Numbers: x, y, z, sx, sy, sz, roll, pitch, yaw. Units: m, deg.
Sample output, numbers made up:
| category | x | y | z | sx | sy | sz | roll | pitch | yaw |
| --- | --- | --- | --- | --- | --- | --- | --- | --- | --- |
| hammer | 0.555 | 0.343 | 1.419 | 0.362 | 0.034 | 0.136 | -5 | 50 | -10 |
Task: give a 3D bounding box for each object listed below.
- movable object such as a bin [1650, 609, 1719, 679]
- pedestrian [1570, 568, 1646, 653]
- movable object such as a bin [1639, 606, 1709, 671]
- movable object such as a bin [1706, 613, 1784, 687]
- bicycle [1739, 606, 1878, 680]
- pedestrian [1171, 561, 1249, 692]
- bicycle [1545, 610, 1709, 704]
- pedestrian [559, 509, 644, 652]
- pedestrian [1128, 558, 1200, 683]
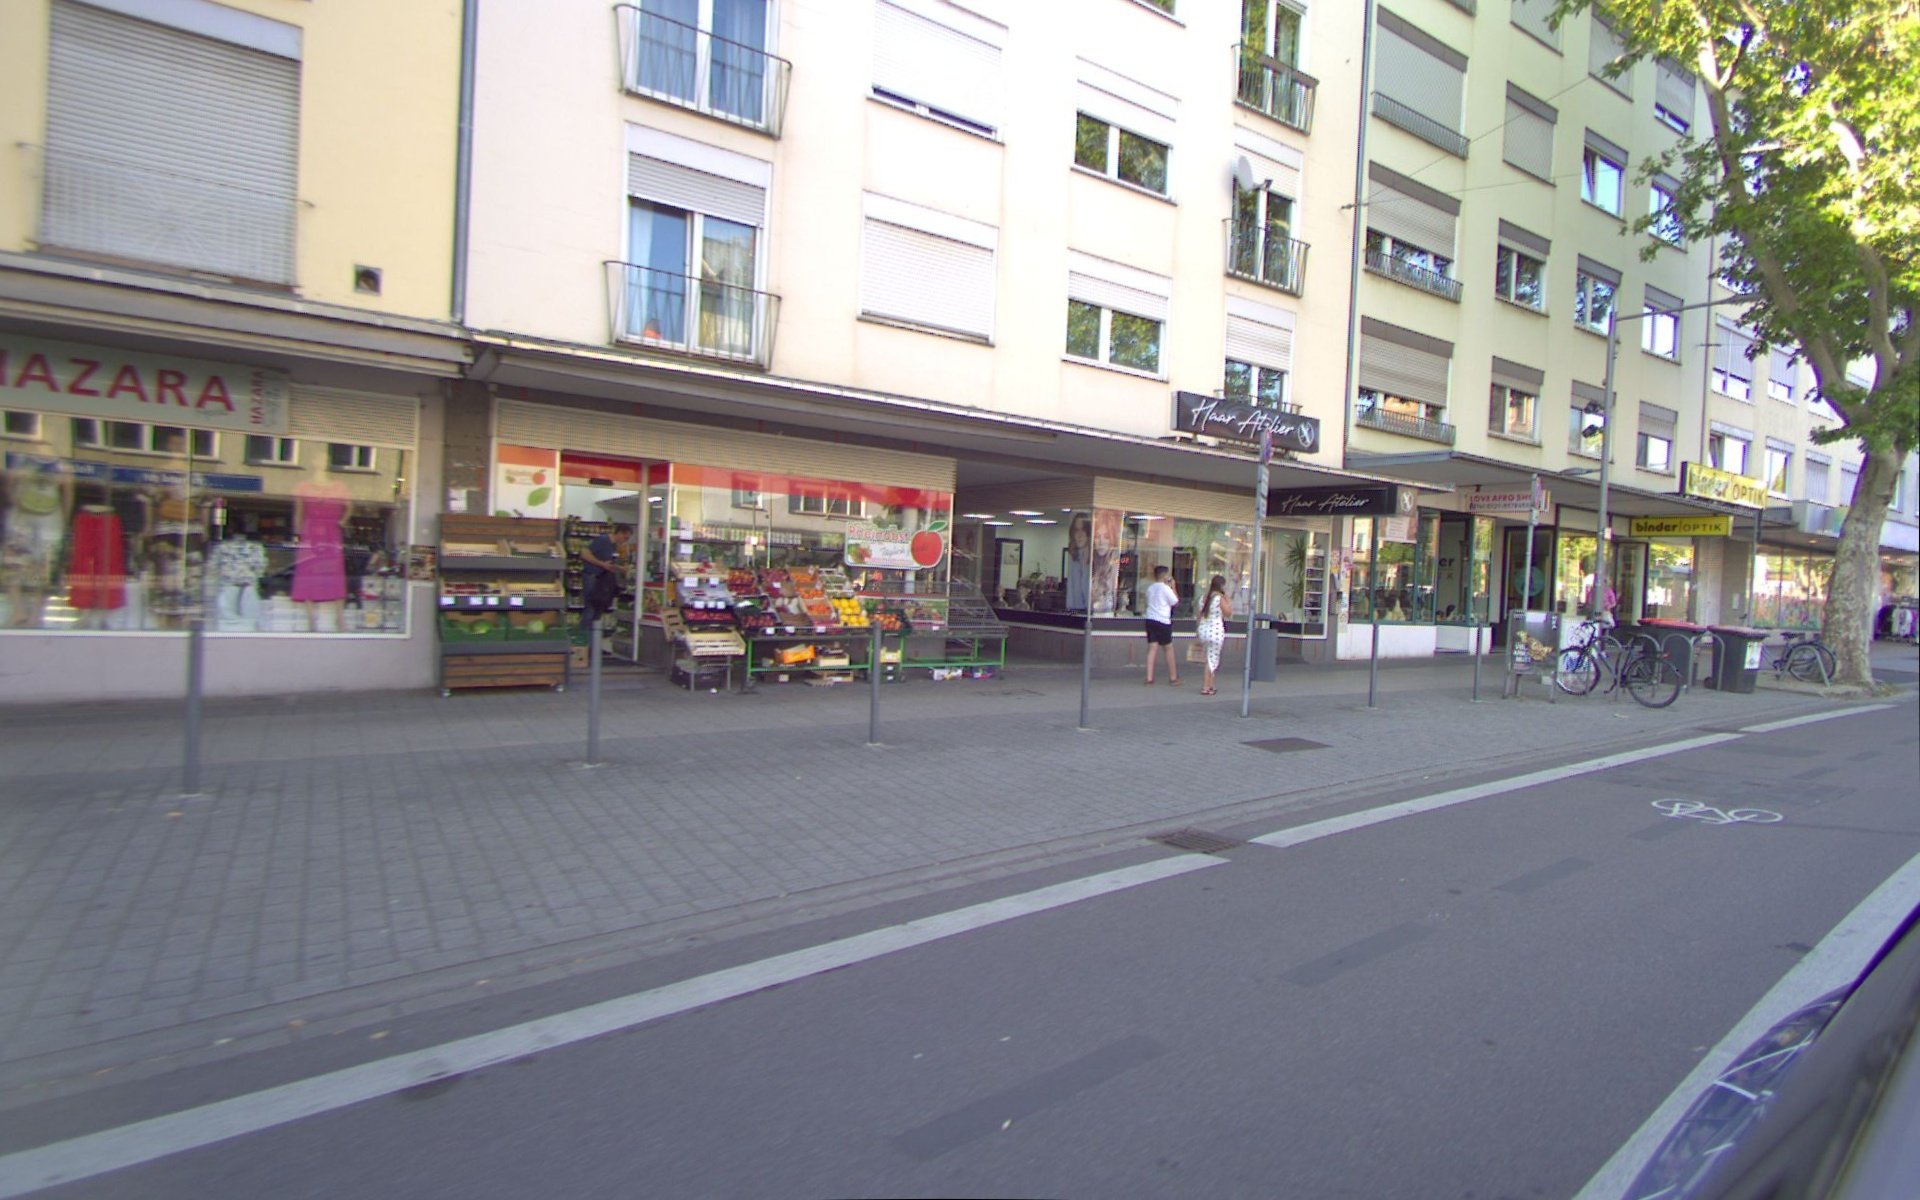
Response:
| category | x | y | z | sx | sy | sz | roll | pitch | yaw |
| --- | --- | --- | --- | --- | --- | --- | --- | --- | --- |
| movable object such as a bin | 12.400 | 0.738 | 17.325 | 0.632 | 1.084 | 0.725 | 0 | 5 | -35 |
| pedestrian | 14.197 | 0.208 | 22.183 | 1.111 | 1.784 | 0.972 | 0 | 3 | -33 |
| movable object such as a bin | 12.761 | 0.680 | 18.109 | 0.630 | 1.085 | 0.726 | 1 | 3 | -15 |
| movable object such as a bin | 12.992 | 0.817 | 16.756 | 0.631 | 1.115 | 0.726 | 1 | 5 | -27 |
| bicycle | 14.893 | 0.723 | 17.801 | 0.731 | 1.131 | 1.724 | -3 | 4 | -33 |
| pedestrian | 3.206 | 0.323 | 12.993 | 0.615 | 1.605 | 0.638 | 1 | 3 | -35 |
| bicycle | 9.604 | 0.781 | 14.667 | 0.507 | 1.118 | 1.918 | 1 | 4 | -27 |
| pedestrian | -4.597 | -0.242 | 12.976 | 0.864 | 1.766 | 0.686 | 1 | -1 | -37 |
| pedestrian | 2.734 | 0.257 | 13.587 | 0.615 | 1.605 | 0.624 | 1 | 3 | -35 |
